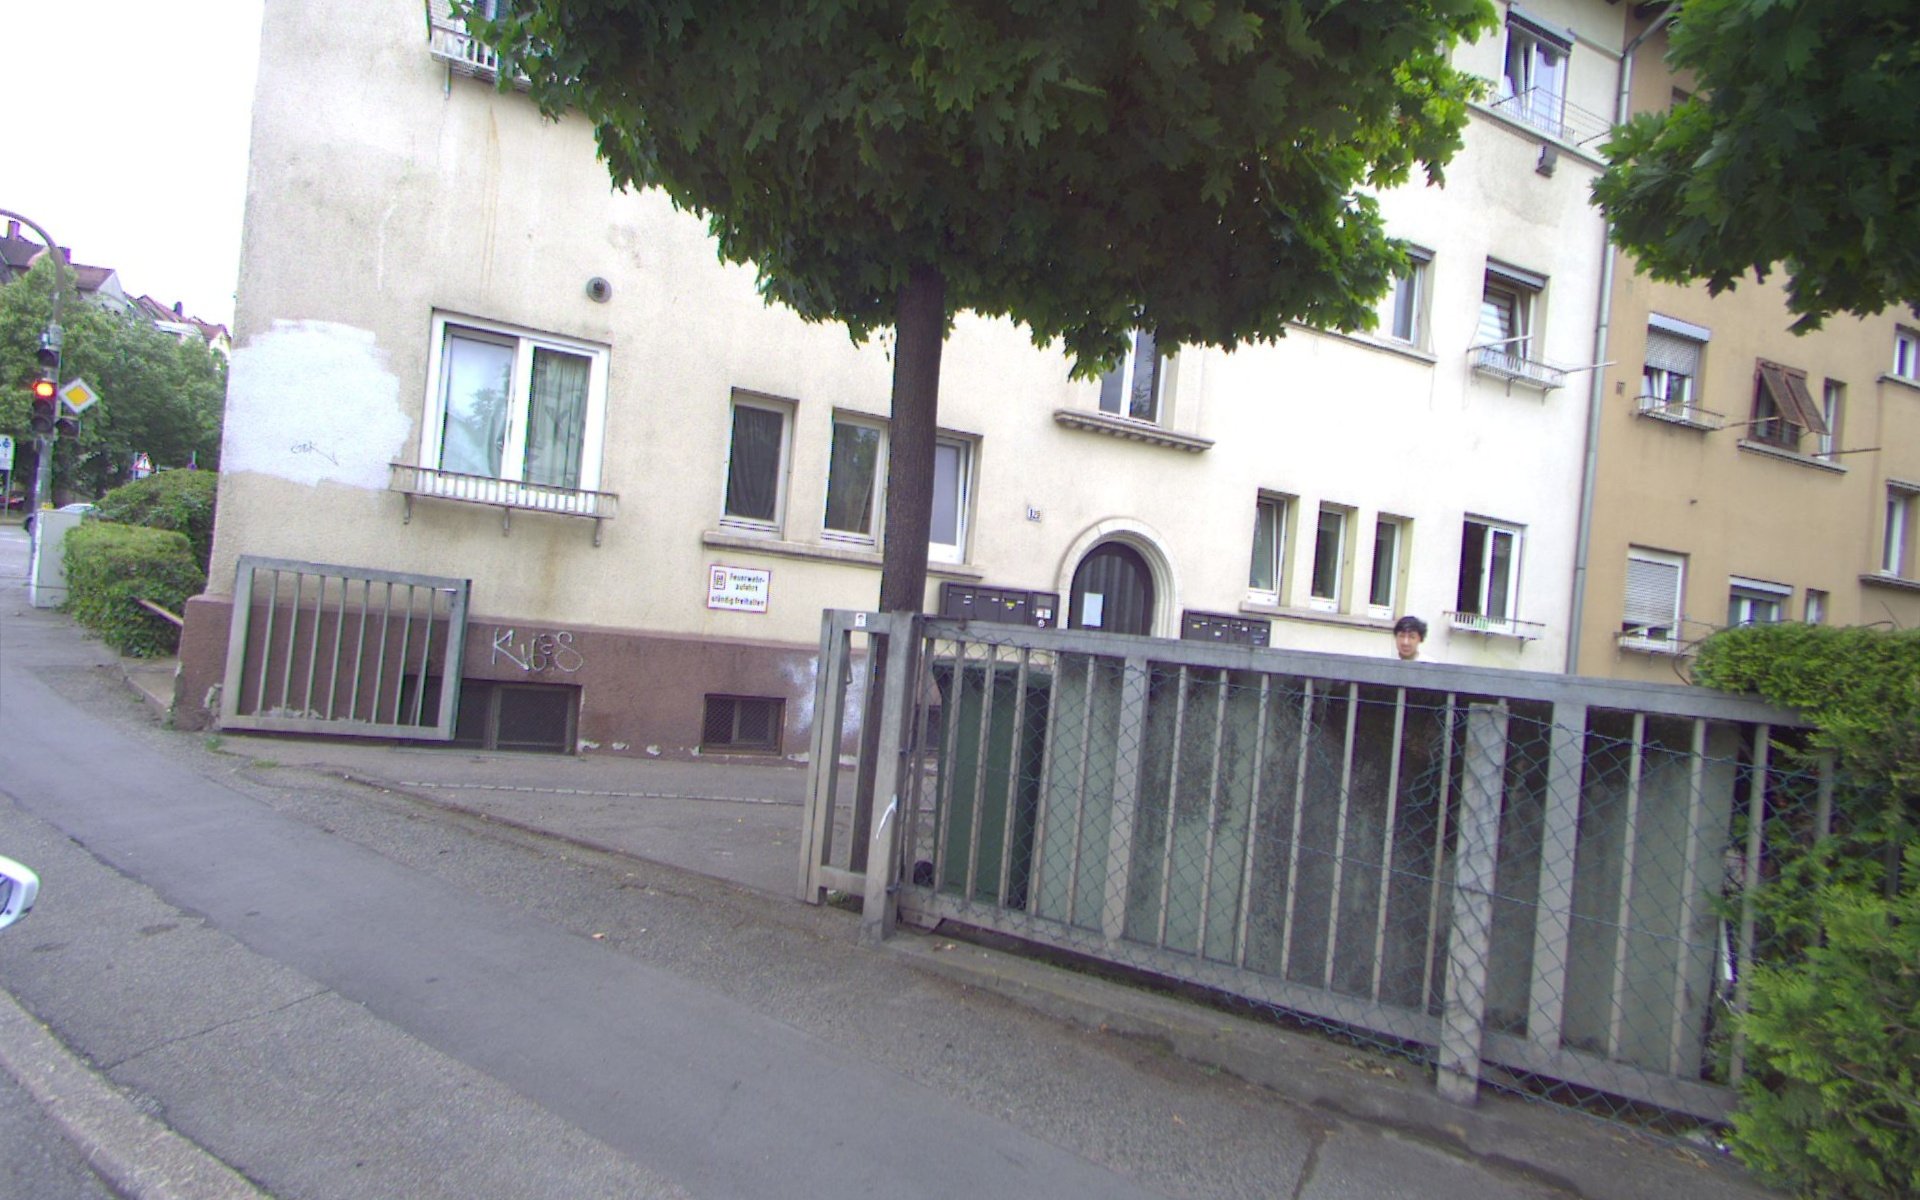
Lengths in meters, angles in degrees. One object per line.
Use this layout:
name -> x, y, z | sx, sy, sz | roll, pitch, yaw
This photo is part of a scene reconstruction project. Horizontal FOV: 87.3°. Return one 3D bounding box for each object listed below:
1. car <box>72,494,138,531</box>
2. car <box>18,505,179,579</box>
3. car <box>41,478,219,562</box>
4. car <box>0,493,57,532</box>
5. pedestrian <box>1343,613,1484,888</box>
car -> -63.147, -6.442, 74.377 | 1.970, 2.036, 3.991 | 9, -3, -15
car -> -31.949, -2.100, 37.412 | 3.928, 2.036, 2.001 | 7, -2, -3
car -> -27.484, -2.600, 33.431 | 3.928, 2.036, 2.001 | 7, -2, -3
car -> -60.868, -5.700, 64.937 | 1.970, 2.036, 3.991 | 9, -3, -15
pedestrian -> 3.163, 1.013, 7.011 | 0.683, 1.759, 0.466 | 7, 0, 28
